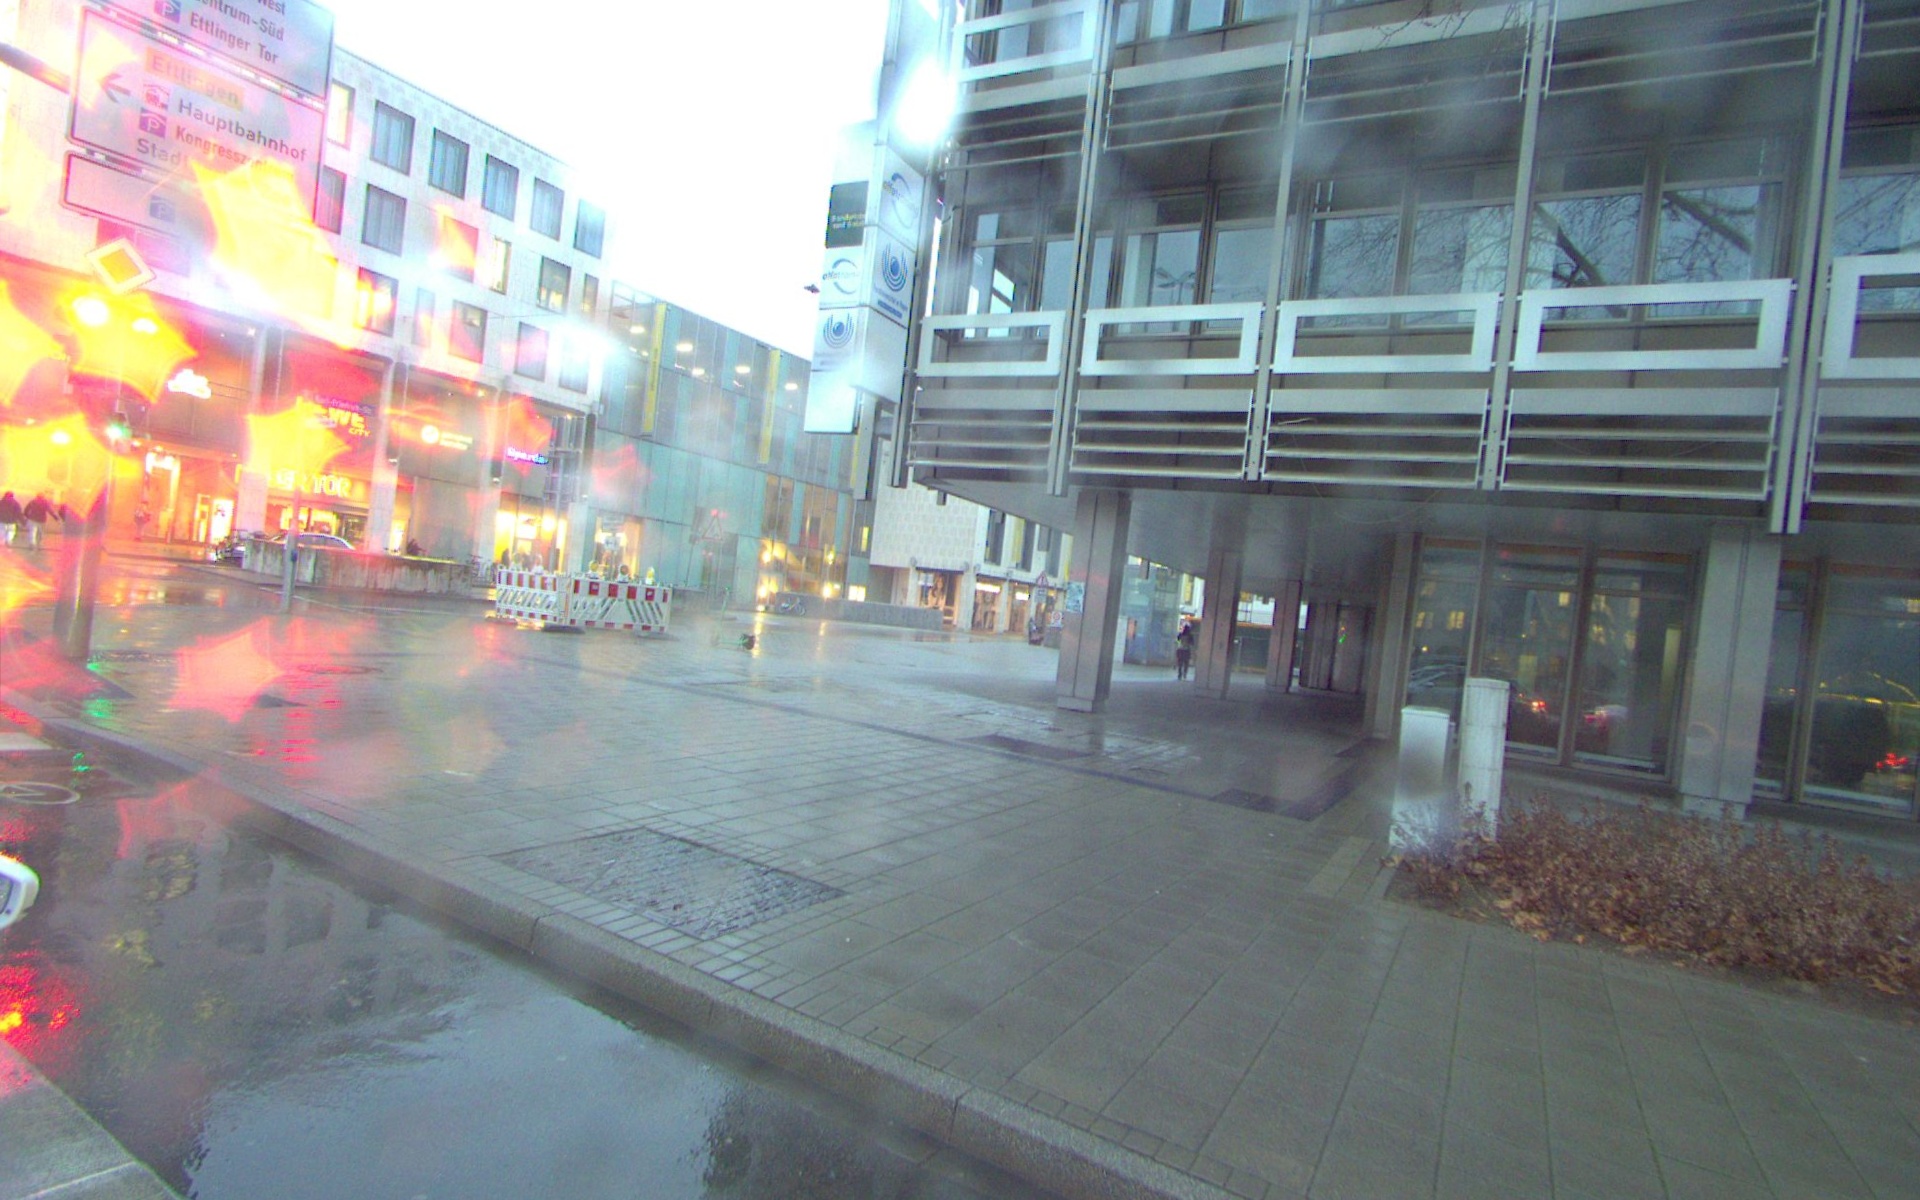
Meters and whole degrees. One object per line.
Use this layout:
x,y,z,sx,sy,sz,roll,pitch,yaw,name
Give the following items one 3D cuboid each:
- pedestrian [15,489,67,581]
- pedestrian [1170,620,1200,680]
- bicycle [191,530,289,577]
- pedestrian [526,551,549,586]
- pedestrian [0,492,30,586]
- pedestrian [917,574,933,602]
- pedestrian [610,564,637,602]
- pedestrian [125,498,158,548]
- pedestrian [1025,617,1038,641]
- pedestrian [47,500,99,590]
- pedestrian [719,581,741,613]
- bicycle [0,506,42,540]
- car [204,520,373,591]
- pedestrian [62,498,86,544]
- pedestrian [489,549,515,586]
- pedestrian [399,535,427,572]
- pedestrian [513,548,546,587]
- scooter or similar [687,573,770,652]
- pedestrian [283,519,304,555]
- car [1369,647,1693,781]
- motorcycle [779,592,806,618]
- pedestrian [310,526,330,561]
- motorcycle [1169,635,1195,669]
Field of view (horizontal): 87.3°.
-25.940,-1.843,28.400,0.745,2.469,0.691,7,-1,31,pedestrian
7.122,1.596,31.816,0.678,1.796,0.660,7,-1,16,pedestrian
-26.346,-1.688,36.884,0.941,1.375,2.718,6,-1,28,bicycle
-22.368,-1.662,53.247,0.786,1.760,0.767,6,1,-43,pedestrian
-26.007,-1.675,27.307,0.745,2.469,0.716,7,-1,31,pedestrian
-2.235,-0.781,64.090,0.573,1.703,0.542,6,-1,38,pedestrian
-16.139,-0.802,48.262,0.770,1.703,0.742,6,-1,38,pedestrian
-35.575,-3.348,43.718,0.688,2.039,0.845,7,1,40,pedestrian
5.494,2.232,77.435,0.573,1.703,0.542,6,-1,38,pedestrian
-25.709,-1.601,29.171,0.778,2.477,0.694,7,-1,32,pedestrian
-13.261,-0.188,58.006,0.770,1.703,0.742,6,-1,38,pedestrian
-36.433,-2.988,38.590,0.515,1.082,1.651,7,-2,28,bicycle
-21.714,-1.396,32.672,1.968,1.636,3.994,6,-2,33,car
-33.396,-2.972,37.914,0.480,1.683,0.454,6,1,-28,pedestrian
-22.950,-1.620,50.440,0.770,1.703,0.742,6,-1,38,pedestrian
-26.513,-2.250,48.775,0.519,1.705,0.894,6,0,31,pedestrian
-21.058,-1.578,49.218,0.810,1.703,1.032,6,-1,31,pedestrian
-4.668,0.247,20.236,1.470,1.368,0.593,7,-1,32,scooter or similar
-34.214,-3.226,51.679,0.729,1.740,0.733,6,1,-31,pedestrian
8.560,1.624,15.305,3.935,1.327,1.994,6,1,33,car
-10.177,0.285,61.144,0.585,1.368,1.491,7,-1,36,motorcycle
-32.261,-2.835,50.695,0.360,1.706,0.616,7,1,28,pedestrian
9.904,2.320,44.786,0.584,1.368,1.493,7,-1,29,motorcycle
